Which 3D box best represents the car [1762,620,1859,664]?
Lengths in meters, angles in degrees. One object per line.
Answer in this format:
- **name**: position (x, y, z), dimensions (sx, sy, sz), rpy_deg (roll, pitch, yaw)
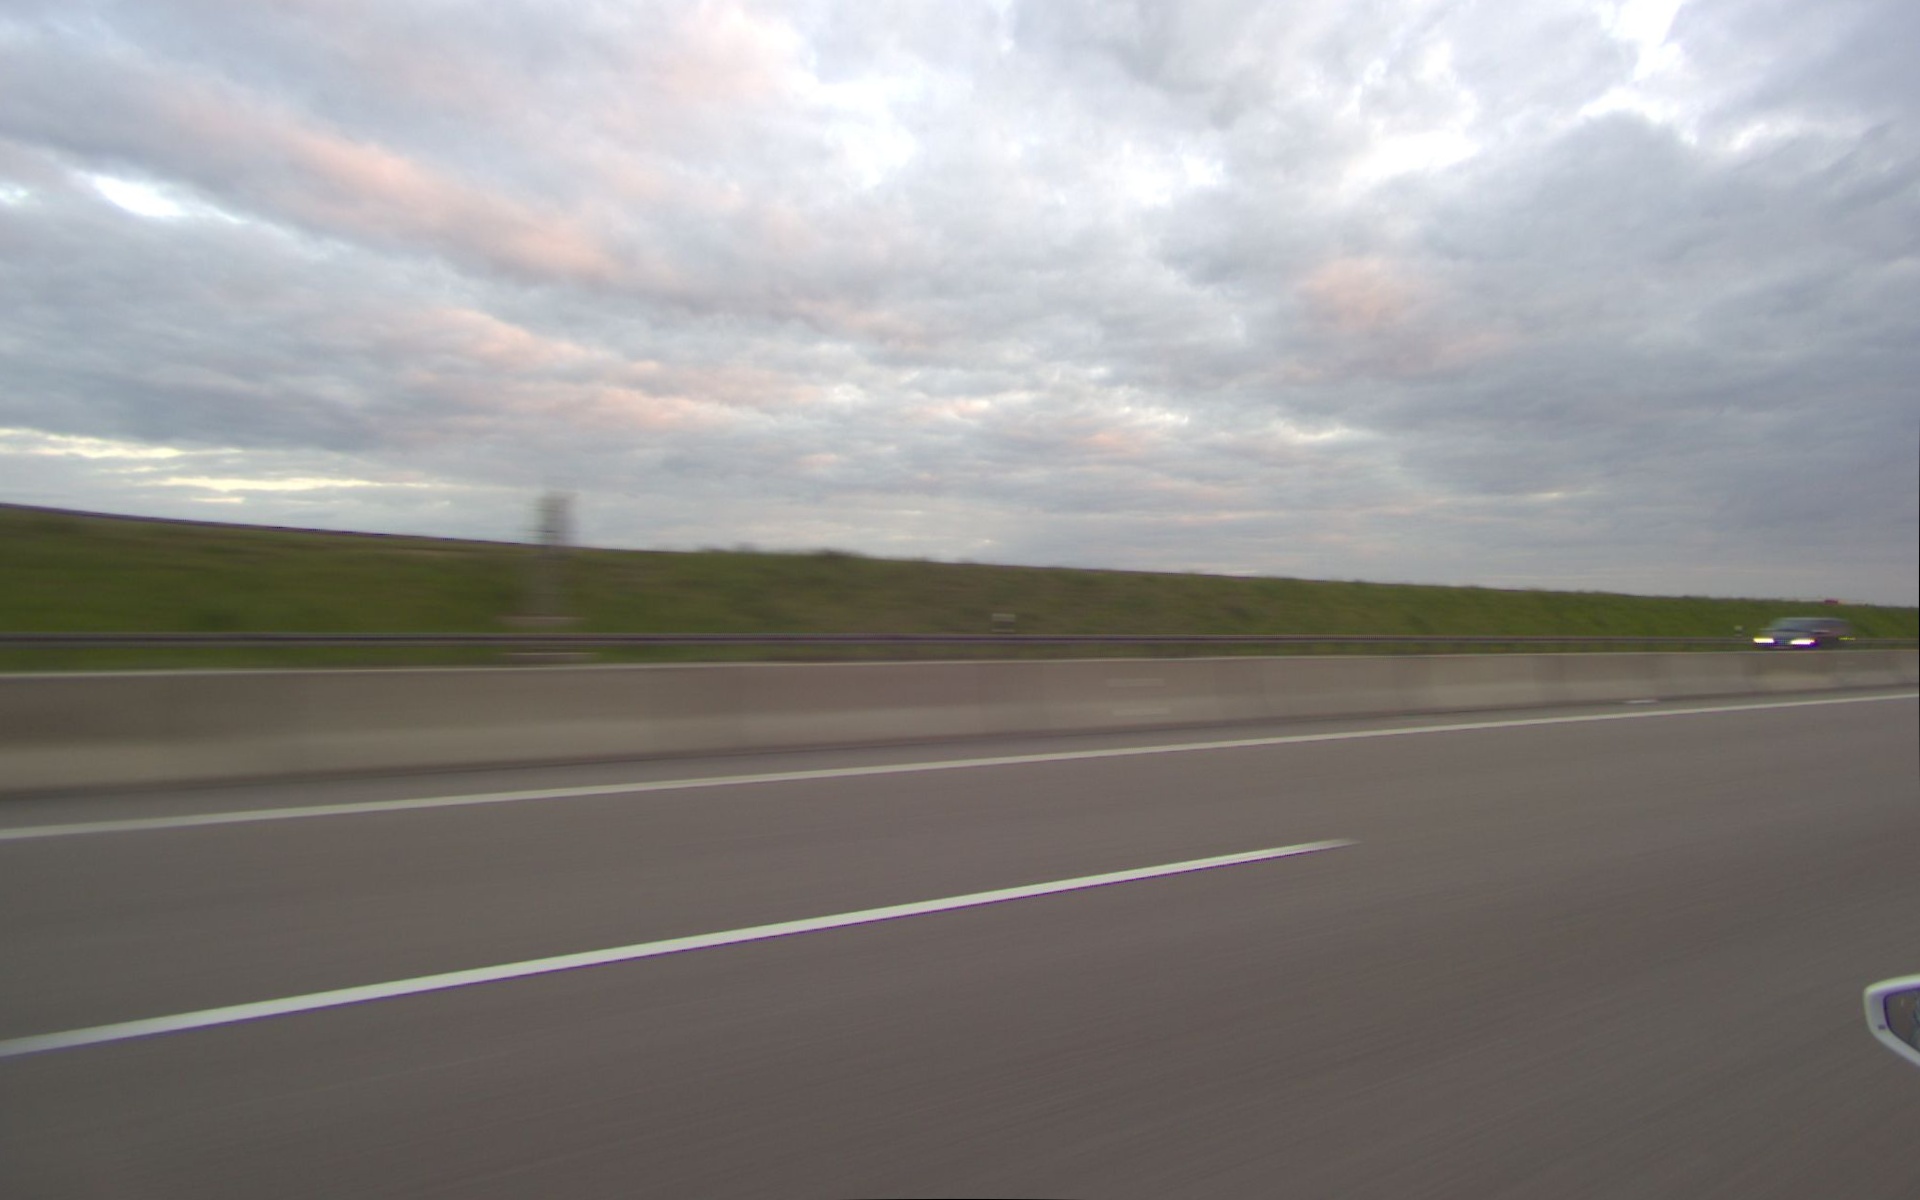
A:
- **car**: position (40.619, 1.975, 47.956), dimensions (5.030, 1.962, 1.984), rpy_deg (1, 0, -30)
